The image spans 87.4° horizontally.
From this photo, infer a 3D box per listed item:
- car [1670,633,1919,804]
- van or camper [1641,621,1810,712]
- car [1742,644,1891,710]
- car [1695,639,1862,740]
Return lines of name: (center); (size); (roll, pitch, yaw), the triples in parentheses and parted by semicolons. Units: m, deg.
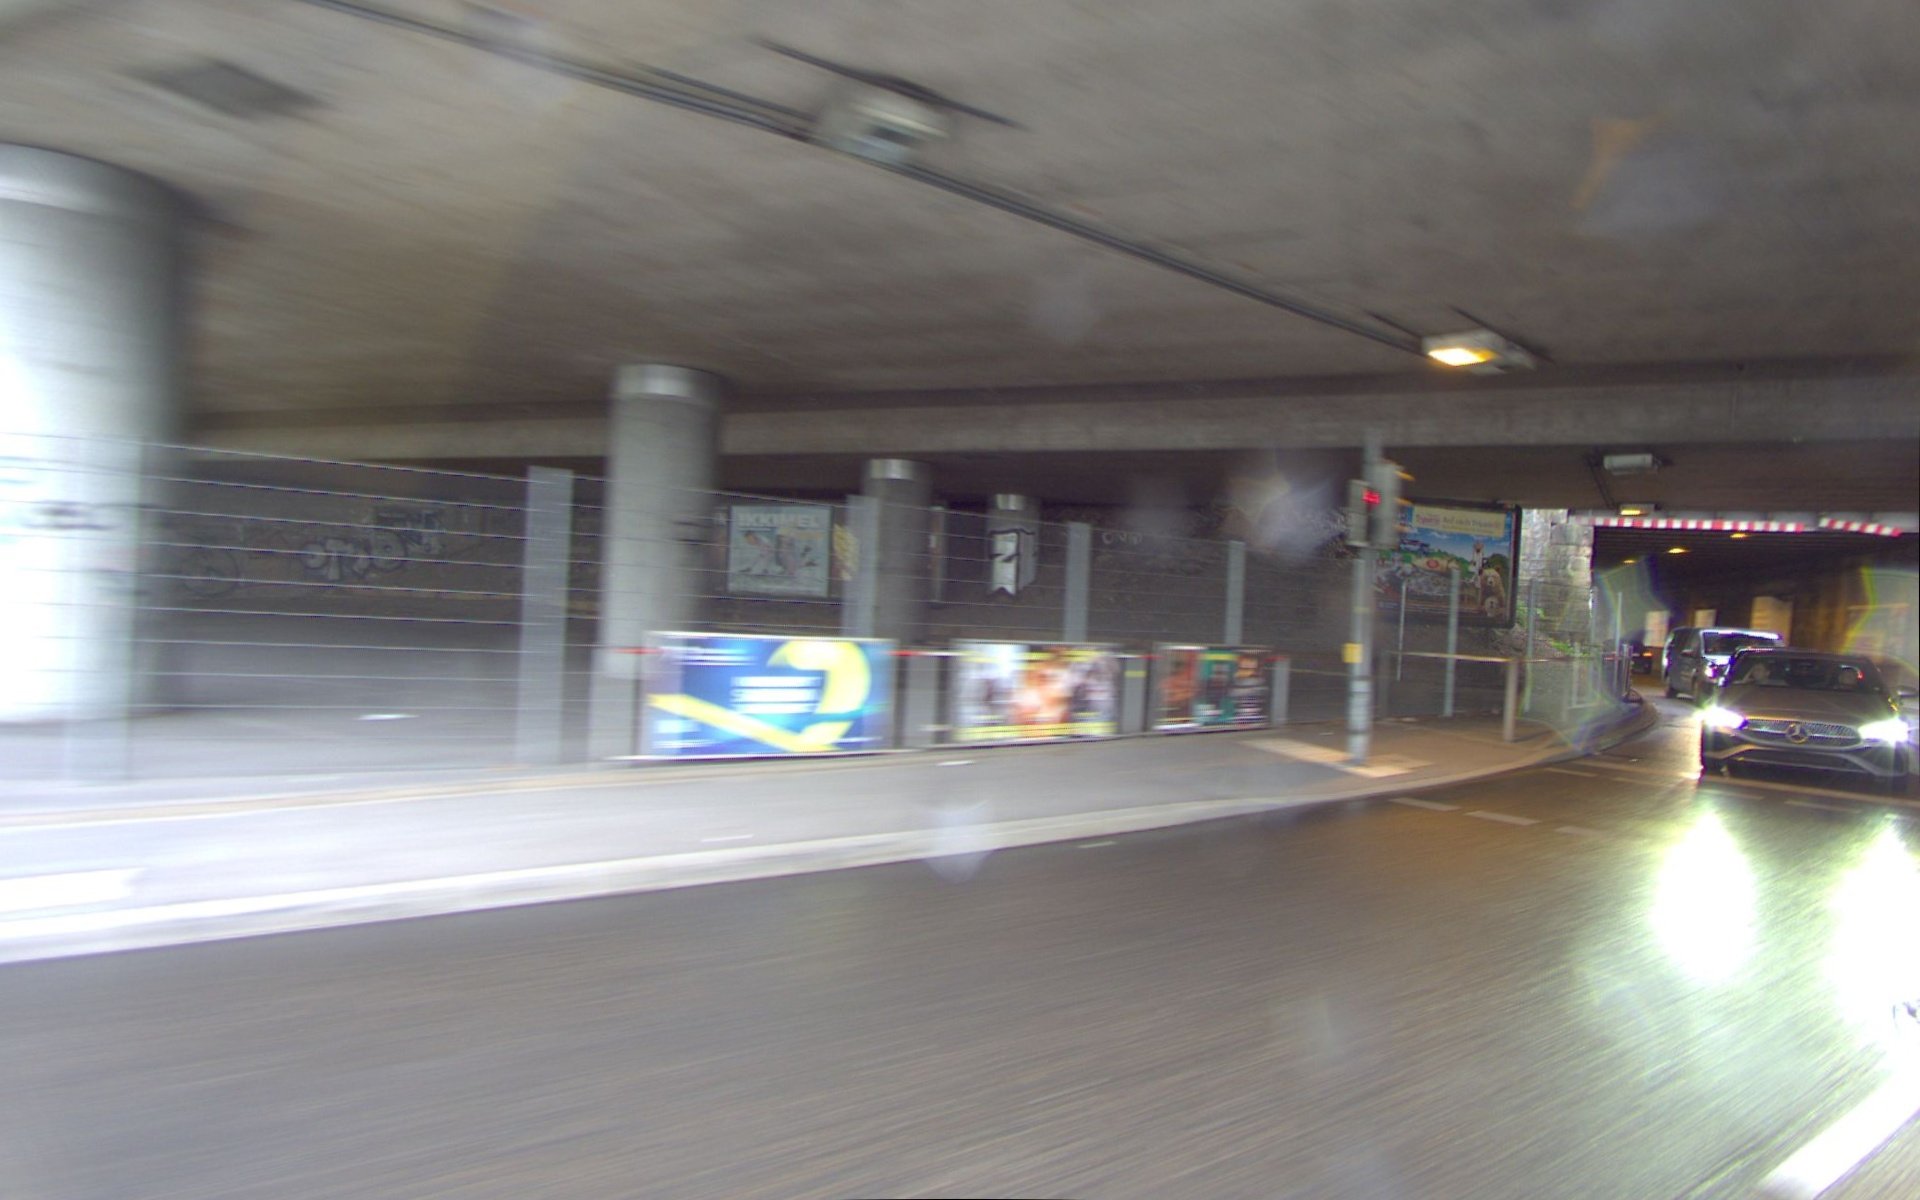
car: (9.957, 1.271, 11.893); (1.971, 1.550, 4.476); (2, -2, 42)
van or camper: (18.475, 1.539, 24.538); (1.961, 1.893, 5.138); (2, -1, 22)
car: (22.541, 1.974, 26.636); (1.806, 1.457, 4.101); (2, -1, 23)
car: (14.318, 1.487, 17.804); (1.967, 1.484, 4.092); (1, -1, 35)
